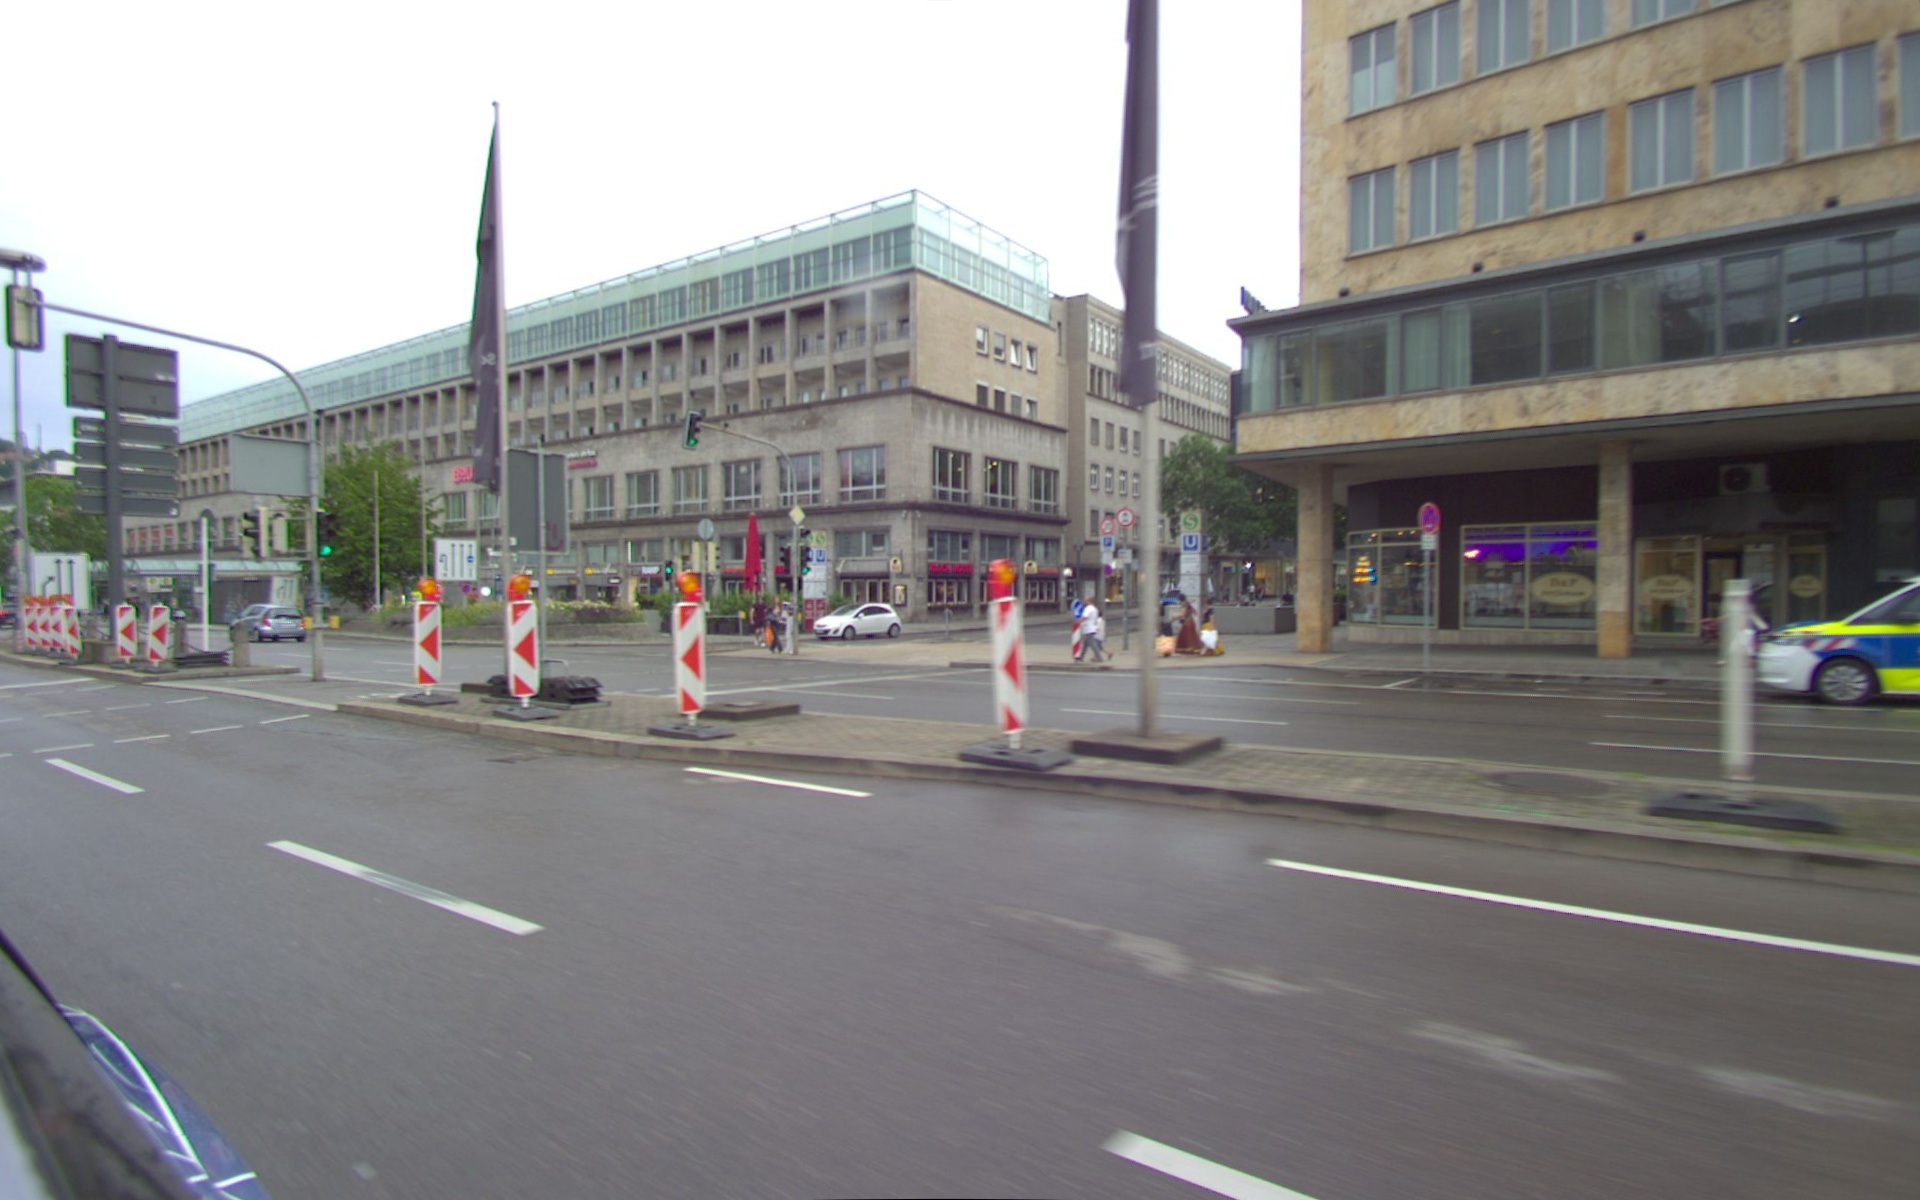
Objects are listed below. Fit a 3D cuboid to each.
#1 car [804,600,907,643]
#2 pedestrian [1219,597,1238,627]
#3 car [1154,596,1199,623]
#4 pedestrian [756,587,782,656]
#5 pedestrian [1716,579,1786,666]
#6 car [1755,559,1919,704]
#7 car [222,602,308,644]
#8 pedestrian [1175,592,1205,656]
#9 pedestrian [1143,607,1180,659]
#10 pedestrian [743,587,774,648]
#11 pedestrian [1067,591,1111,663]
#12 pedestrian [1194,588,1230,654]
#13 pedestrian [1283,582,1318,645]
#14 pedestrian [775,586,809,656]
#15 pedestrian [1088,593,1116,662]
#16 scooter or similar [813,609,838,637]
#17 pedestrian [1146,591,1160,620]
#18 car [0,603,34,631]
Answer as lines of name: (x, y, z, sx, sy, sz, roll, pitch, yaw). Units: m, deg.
car: (-4.197, 0.836, 41.140, 1.805, 1.652, 4.038, -1, 0, 41)
pedestrian: (12.606, 0.565, 47.472, 0.601, 1.375, 0.692, 0, 3, 38)
car: (14.739, 0.625, 68.705, 1.791, 1.741, 4.041, -1, 0, 31)
pedestrian: (-5.474, 0.603, 28.958, 0.705, 1.939, 0.593, 0, 0, -13)
pedestrian: (14.615, 0.401, 18.709, 0.956, 1.561, 0.707, -1, 0, 43)
car: (14.146, 0.408, 13.788, 5.065, 1.943, 1.883, -2, -1, 36)
car: (-28.935, 0.931, 42.086, 3.992, 1.633, 1.739, 0, 0, 36)
pedestrian: (5.836, 0.611, 25.696, 0.673, 1.604, 0.665, 0, 0, 7)
pedestrian: (5.136, 0.825, 25.801, 0.751, 1.301, 0.558, 0, 0, 35)
pedestrian: (-6.861, 0.587, 34.473, 0.806, 2.029, 0.697, -1, 0, 37)
pedestrian: (3.069, 0.640, 24.004, 0.785, 1.630, 0.832, -1, 3, 26)
pedestrian: (6.502, 0.533, 26.070, 0.751, 1.681, 0.558, -1, 0, 35)
pedestrian: (10.382, 0.399, 30.853, 0.772, 1.889, 0.707, -1, 0, 41)
pedestrian: (-4.733, 0.570, 28.464, 0.750, 1.939, 0.584, -1, 0, 36)
pedestrian: (3.470, 0.670, 24.729, 0.524, 1.630, 0.447, -1, 3, 25)
scooter or similar: (-5.892, 1.008, 44.345, 1.039, 1.253, 0.424, 0, 0, 12)
pedestrian: (13.629, 0.368, 71.531, 0.704, 2.029, 0.798, -1, 0, 35)
car: (-60.862, 1.064, 64.520, 3.990, 1.696, 1.866, 0, 0, 35)
